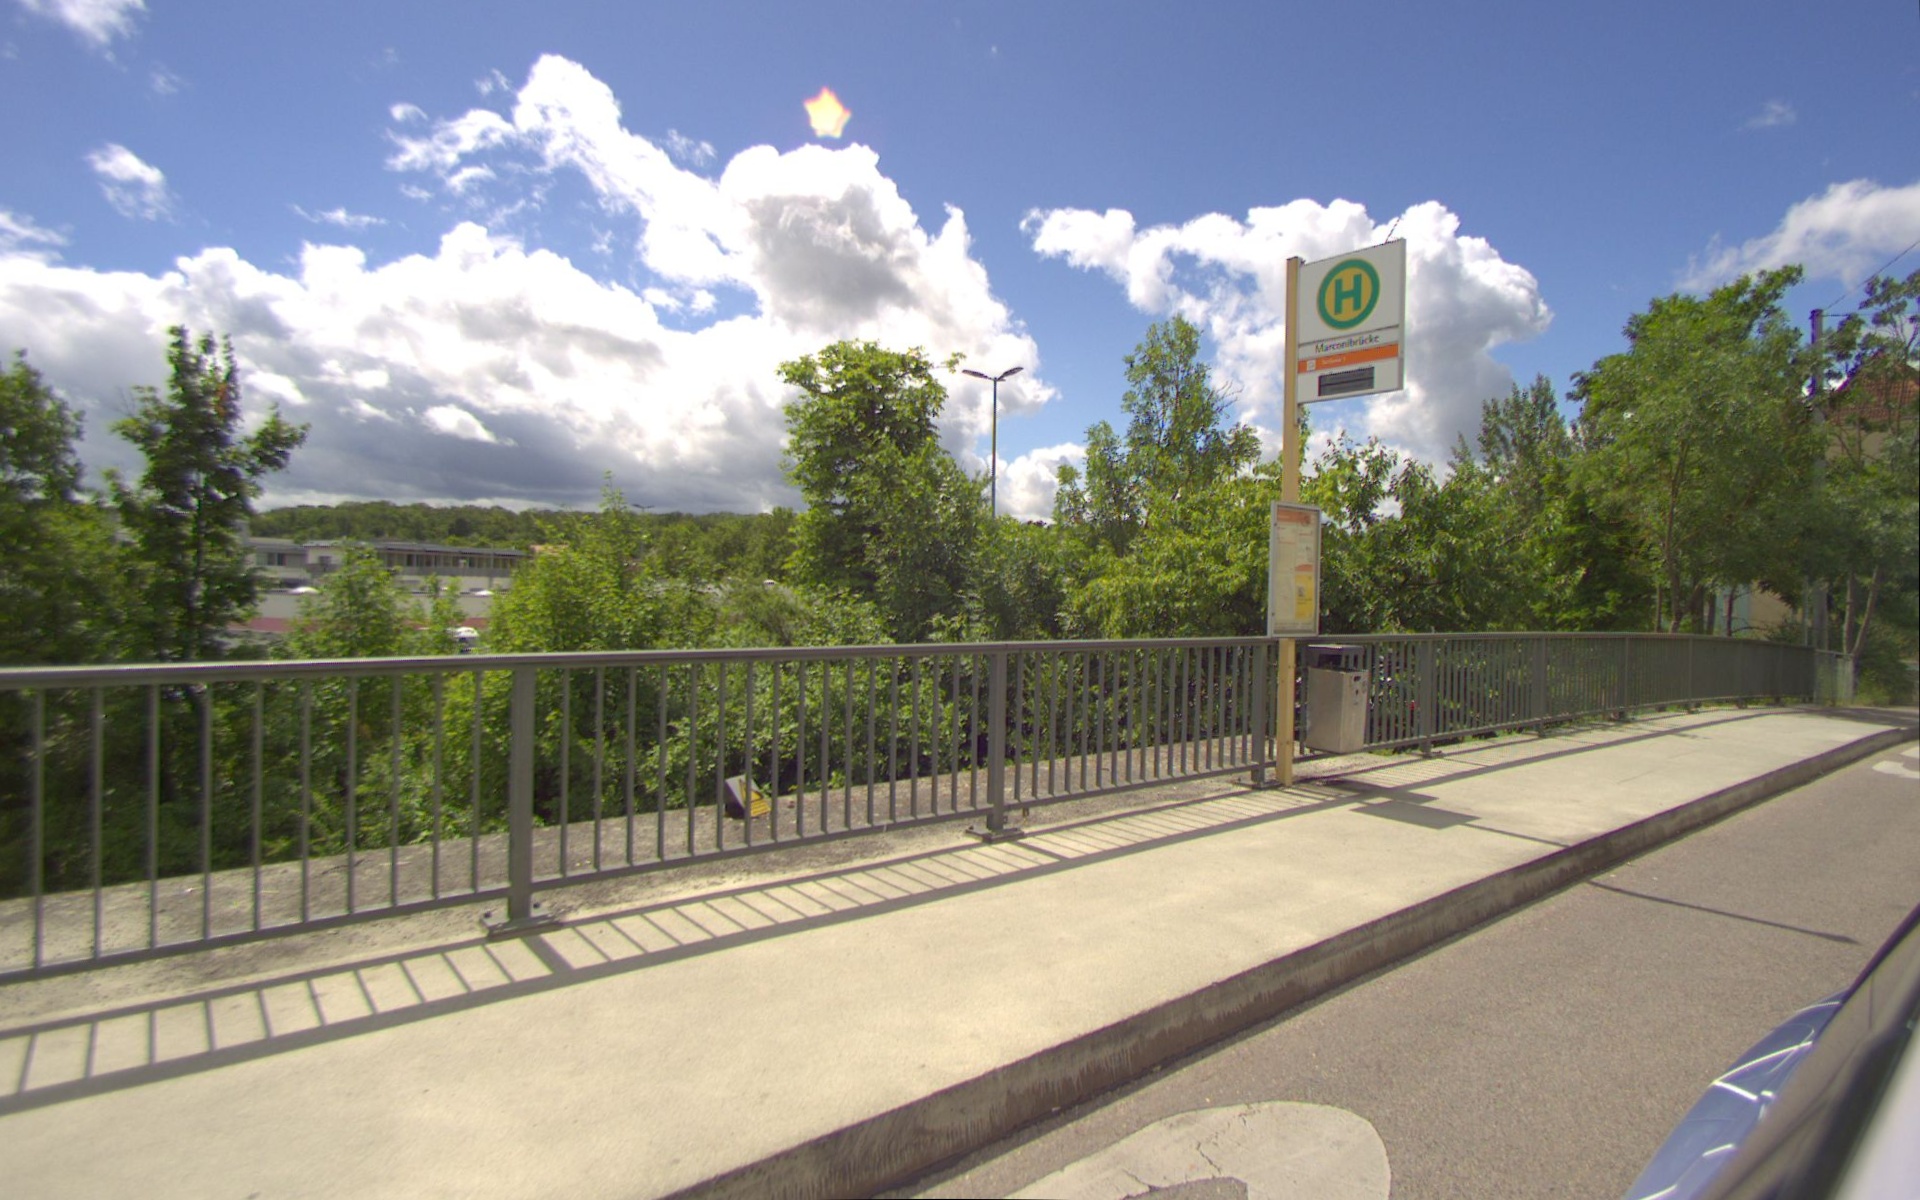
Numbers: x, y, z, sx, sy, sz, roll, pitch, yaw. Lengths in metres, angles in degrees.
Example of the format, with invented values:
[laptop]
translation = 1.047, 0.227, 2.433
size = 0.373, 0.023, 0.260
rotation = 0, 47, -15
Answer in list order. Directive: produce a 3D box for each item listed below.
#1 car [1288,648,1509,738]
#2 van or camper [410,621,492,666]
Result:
[car]
translation = 9.519, 1.984, 22.345
size = 4.295, 1.691, 1.859
rotation = 1, -1, 20
[van or camper]
translation = -31.837, 2.726, 63.326
size = 5.252, 2.727, 1.909
rotation = -2, -3, 28
